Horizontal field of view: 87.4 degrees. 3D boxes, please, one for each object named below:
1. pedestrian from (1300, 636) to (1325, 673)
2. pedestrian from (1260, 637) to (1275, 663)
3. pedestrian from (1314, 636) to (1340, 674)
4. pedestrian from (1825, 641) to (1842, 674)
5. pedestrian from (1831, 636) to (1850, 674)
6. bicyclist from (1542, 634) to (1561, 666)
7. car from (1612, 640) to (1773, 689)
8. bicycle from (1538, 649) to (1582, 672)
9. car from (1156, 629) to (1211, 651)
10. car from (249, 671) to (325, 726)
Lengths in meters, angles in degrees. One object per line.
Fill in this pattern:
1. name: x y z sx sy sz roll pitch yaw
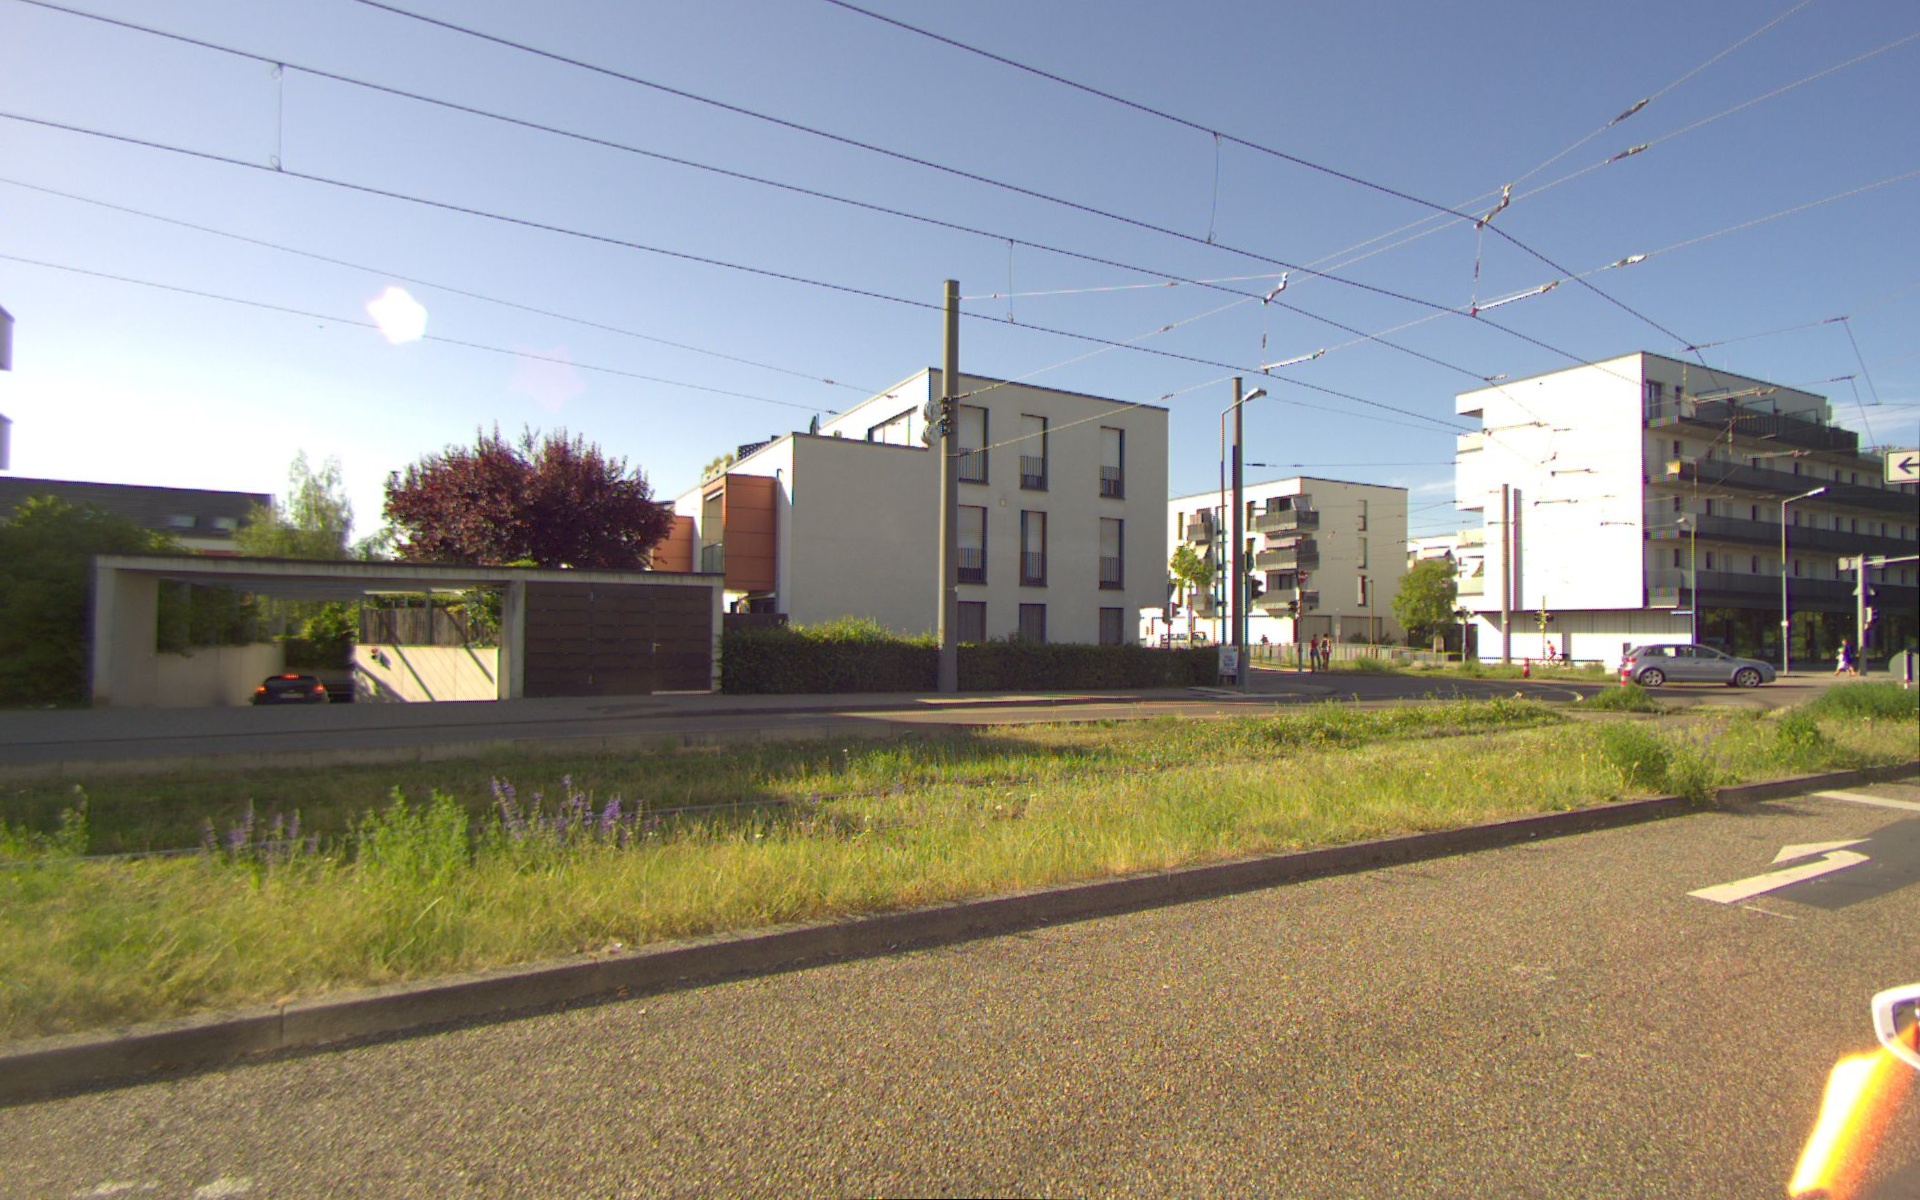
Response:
1. pedestrian: 15.844 2.438 45.137 0.735 1.626 0.766 2 0 -35
2. pedestrian: 21.126 3.433 68.982 0.613 1.714 0.809 1 -2 -29
3. pedestrian: 16.238 2.446 44.443 0.735 1.626 0.766 2 0 -35
4. pedestrian: 41.145 2.687 47.315 0.513 1.523 0.438 2 0 -35
5. pedestrian: 41.659 2.586 47.520 0.513 1.767 0.539 2 0 -35
6. bicyclist: 31.480 2.662 53.456 0.628 1.635 0.785 2 0 12
7. car: 24.189 2.094 33.359 4.033 1.505 1.868 -1 -2 26
8. bicycle: 31.864 3.213 53.386 1.823 1.139 0.823 2 0 13
9. car: 17.803 3.180 80.288 1.974 1.595 4.309 2 0 -27
10. car: -18.069 2.680 27.026 1.560 1.344 3.966 2 -7 -33
